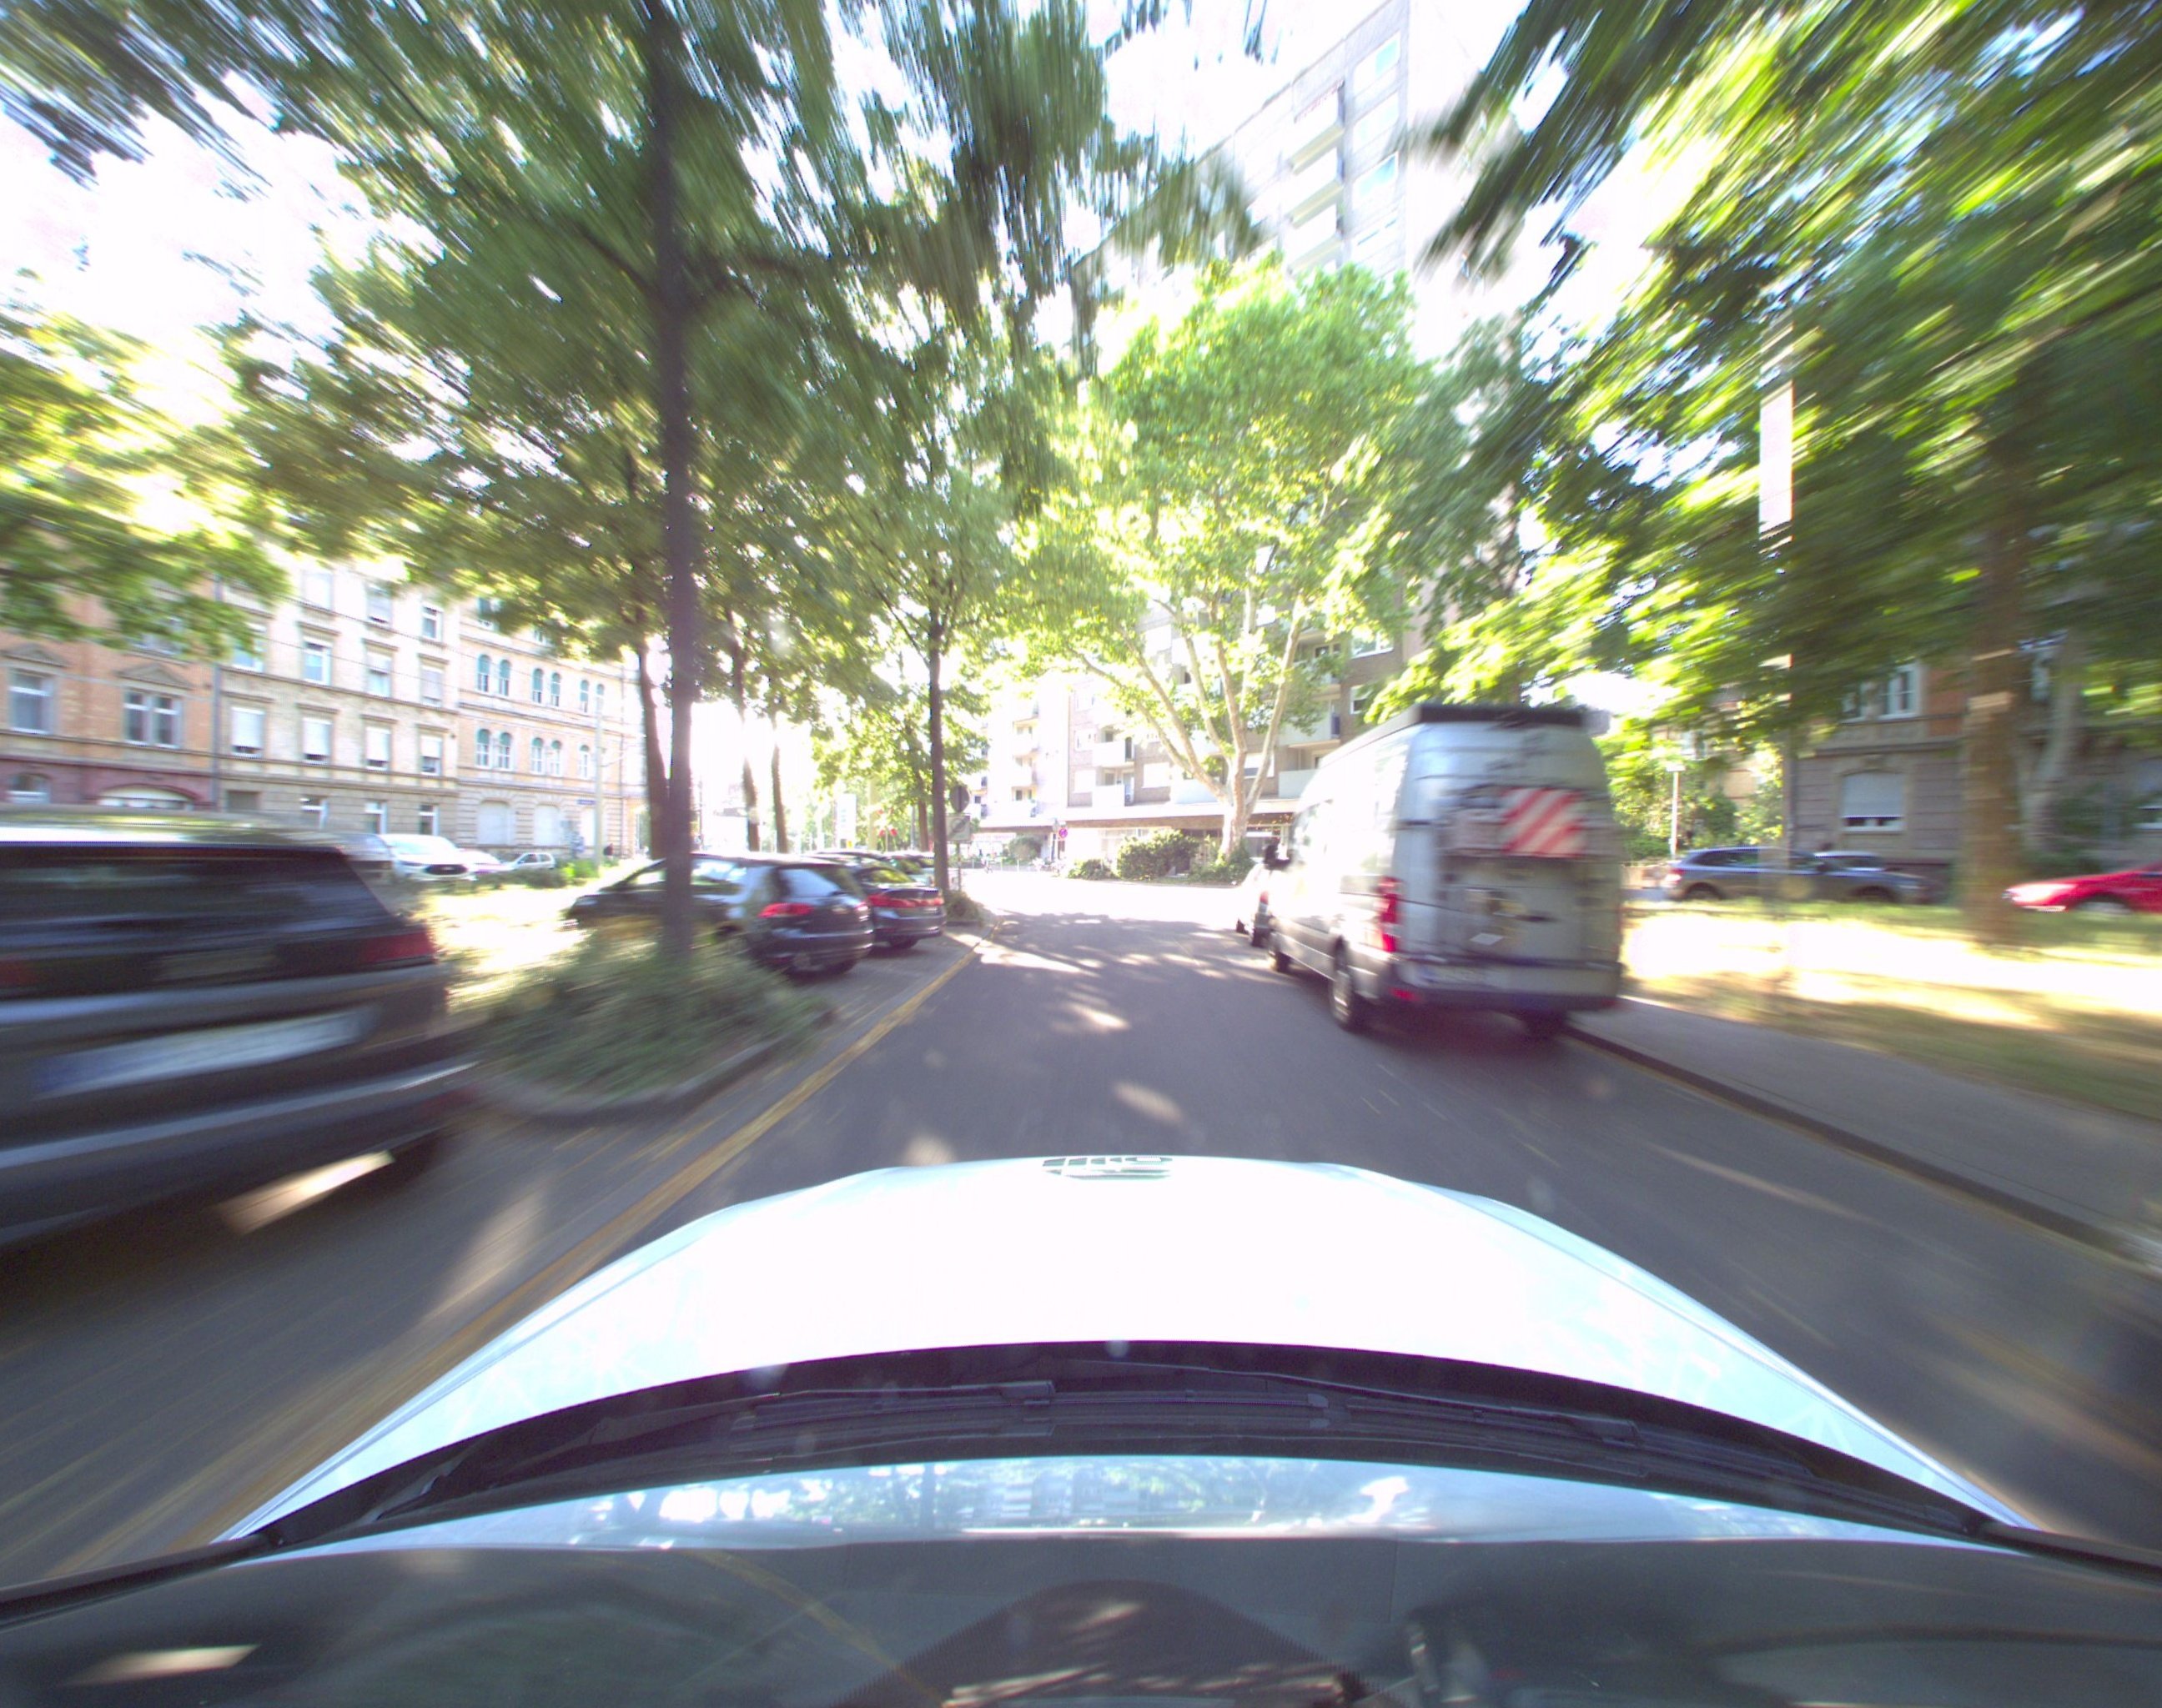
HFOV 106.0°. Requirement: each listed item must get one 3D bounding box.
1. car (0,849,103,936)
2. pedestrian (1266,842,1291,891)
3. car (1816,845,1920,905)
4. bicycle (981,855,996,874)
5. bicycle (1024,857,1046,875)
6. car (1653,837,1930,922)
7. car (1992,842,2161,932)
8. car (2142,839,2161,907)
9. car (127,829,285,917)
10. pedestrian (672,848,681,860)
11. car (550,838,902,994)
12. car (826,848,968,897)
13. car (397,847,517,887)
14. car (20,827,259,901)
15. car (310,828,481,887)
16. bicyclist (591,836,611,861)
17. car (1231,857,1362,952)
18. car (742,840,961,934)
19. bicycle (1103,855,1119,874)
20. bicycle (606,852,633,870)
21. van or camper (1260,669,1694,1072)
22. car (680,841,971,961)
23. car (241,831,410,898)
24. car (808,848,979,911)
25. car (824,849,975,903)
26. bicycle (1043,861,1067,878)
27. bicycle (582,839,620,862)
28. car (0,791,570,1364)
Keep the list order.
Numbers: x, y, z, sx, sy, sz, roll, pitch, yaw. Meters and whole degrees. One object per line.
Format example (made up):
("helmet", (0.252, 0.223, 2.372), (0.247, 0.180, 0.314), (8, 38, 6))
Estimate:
("car", (-21.929, 0.733, 16.786), (3.604, 1.640, 1.671), (0, 0, 30))
("pedestrian", (7.283, 0.459, 30.121), (0.808, 1.781, 0.717), (0, 0, 6))
("car", (22.180, 0.528, 23.087), (1.712, 1.473, 4.026), (0, 2, 38))
("bicycle", (-6.157, 0.657, 53.865), (0.640, 1.226, 2.076), (0, 0, -16))
("bicycle", (-2.674, 0.699, 47.344), (0.641, 1.022, 2.072), (0, 0, -23))
("car", (14.711, 0.517, 17.049), (1.752, 1.552, 4.224), (4, -3, -43))
("car", (18.478, 0.554, 13.352), (4.587, 1.449, 1.754), (-1, -2, 44))
("car", (25.943, 0.456, 18.120), (1.884, 1.618, 3.802), (0, 0, 37))
("car", (-22.053, 0.437, 20.497), (3.948, 2.013, 2.013), (0, 0, 32))
("pedestrian", (-54.086, -0.003, 108.914), (0.933, 1.692, 0.769), (0, 0, -38))
("car", (-4.361, 0.640, 10.001), (3.824, 1.439, 1.842), (3, 0, 26))
("car", (-6.116, 0.584, 27.185), (4.246, 1.429, 1.782), (2, 0, 18))
("car", (-21.452, 0.419, 27.997), (3.589, 1.329, 1.726), (0, 0, 23))
("car", (-29.983, 0.241, 26.252), (1.846, 2.063, 4.998), (3, 1, -1))
("car", (-21.873, 0.100, 25.983), (4.999, 1.764, 2.096), (0, 0, 22))
("bicyclist", (-30.463, -0.360, 51.680), (0.586, 1.492, 0.706), (4, -6, 24))
("car", (3.877, 0.837, 15.242), (1.672, 1.446, 3.877), (2, 0, 5))
("car", (-4.503, 0.576, 15.932), (3.836, 1.493, 1.843), (3, 0, 28))
("bicycle", (1.671, 0.579, 44.882), (0.351, 1.038, 1.041), (0, 0, -34))
("bicycle", (-31.180, 0.475, 55.044), (0.498, 1.206, 1.797), (3, 0, 10))
("van or camper", (3.374, 0.093, 8.562), (2.075, 2.762, 5.852), (0, 0, 4))
("car", (-4.009, 0.642, 12.731), (4.149, 1.439, 1.842), (3, 0, 26))
("car", (-21.603, 0.263, 23.260), (4.775, 1.764, 2.098), (0, 0, 28))
("car", (-4.915, 0.640, 21.512), (3.942, 1.365, 1.782), (3, 0, 17))
("car", (-5.412, 0.629, 24.452), (3.997, 1.406, 1.782), (2, 0, 16))
("bicycle", (-1.484, 0.841, 45.657), (0.546, 0.904, 1.718), (0, 0, -33))
("bicycle", (-30.446, -0.208, 51.700), (0.497, 1.133, 2.135), (4, -5, 21))
("car", (-4.661, 0.544, 3.795), (4.303, 1.626, 1.953), (3, 0, 29))
